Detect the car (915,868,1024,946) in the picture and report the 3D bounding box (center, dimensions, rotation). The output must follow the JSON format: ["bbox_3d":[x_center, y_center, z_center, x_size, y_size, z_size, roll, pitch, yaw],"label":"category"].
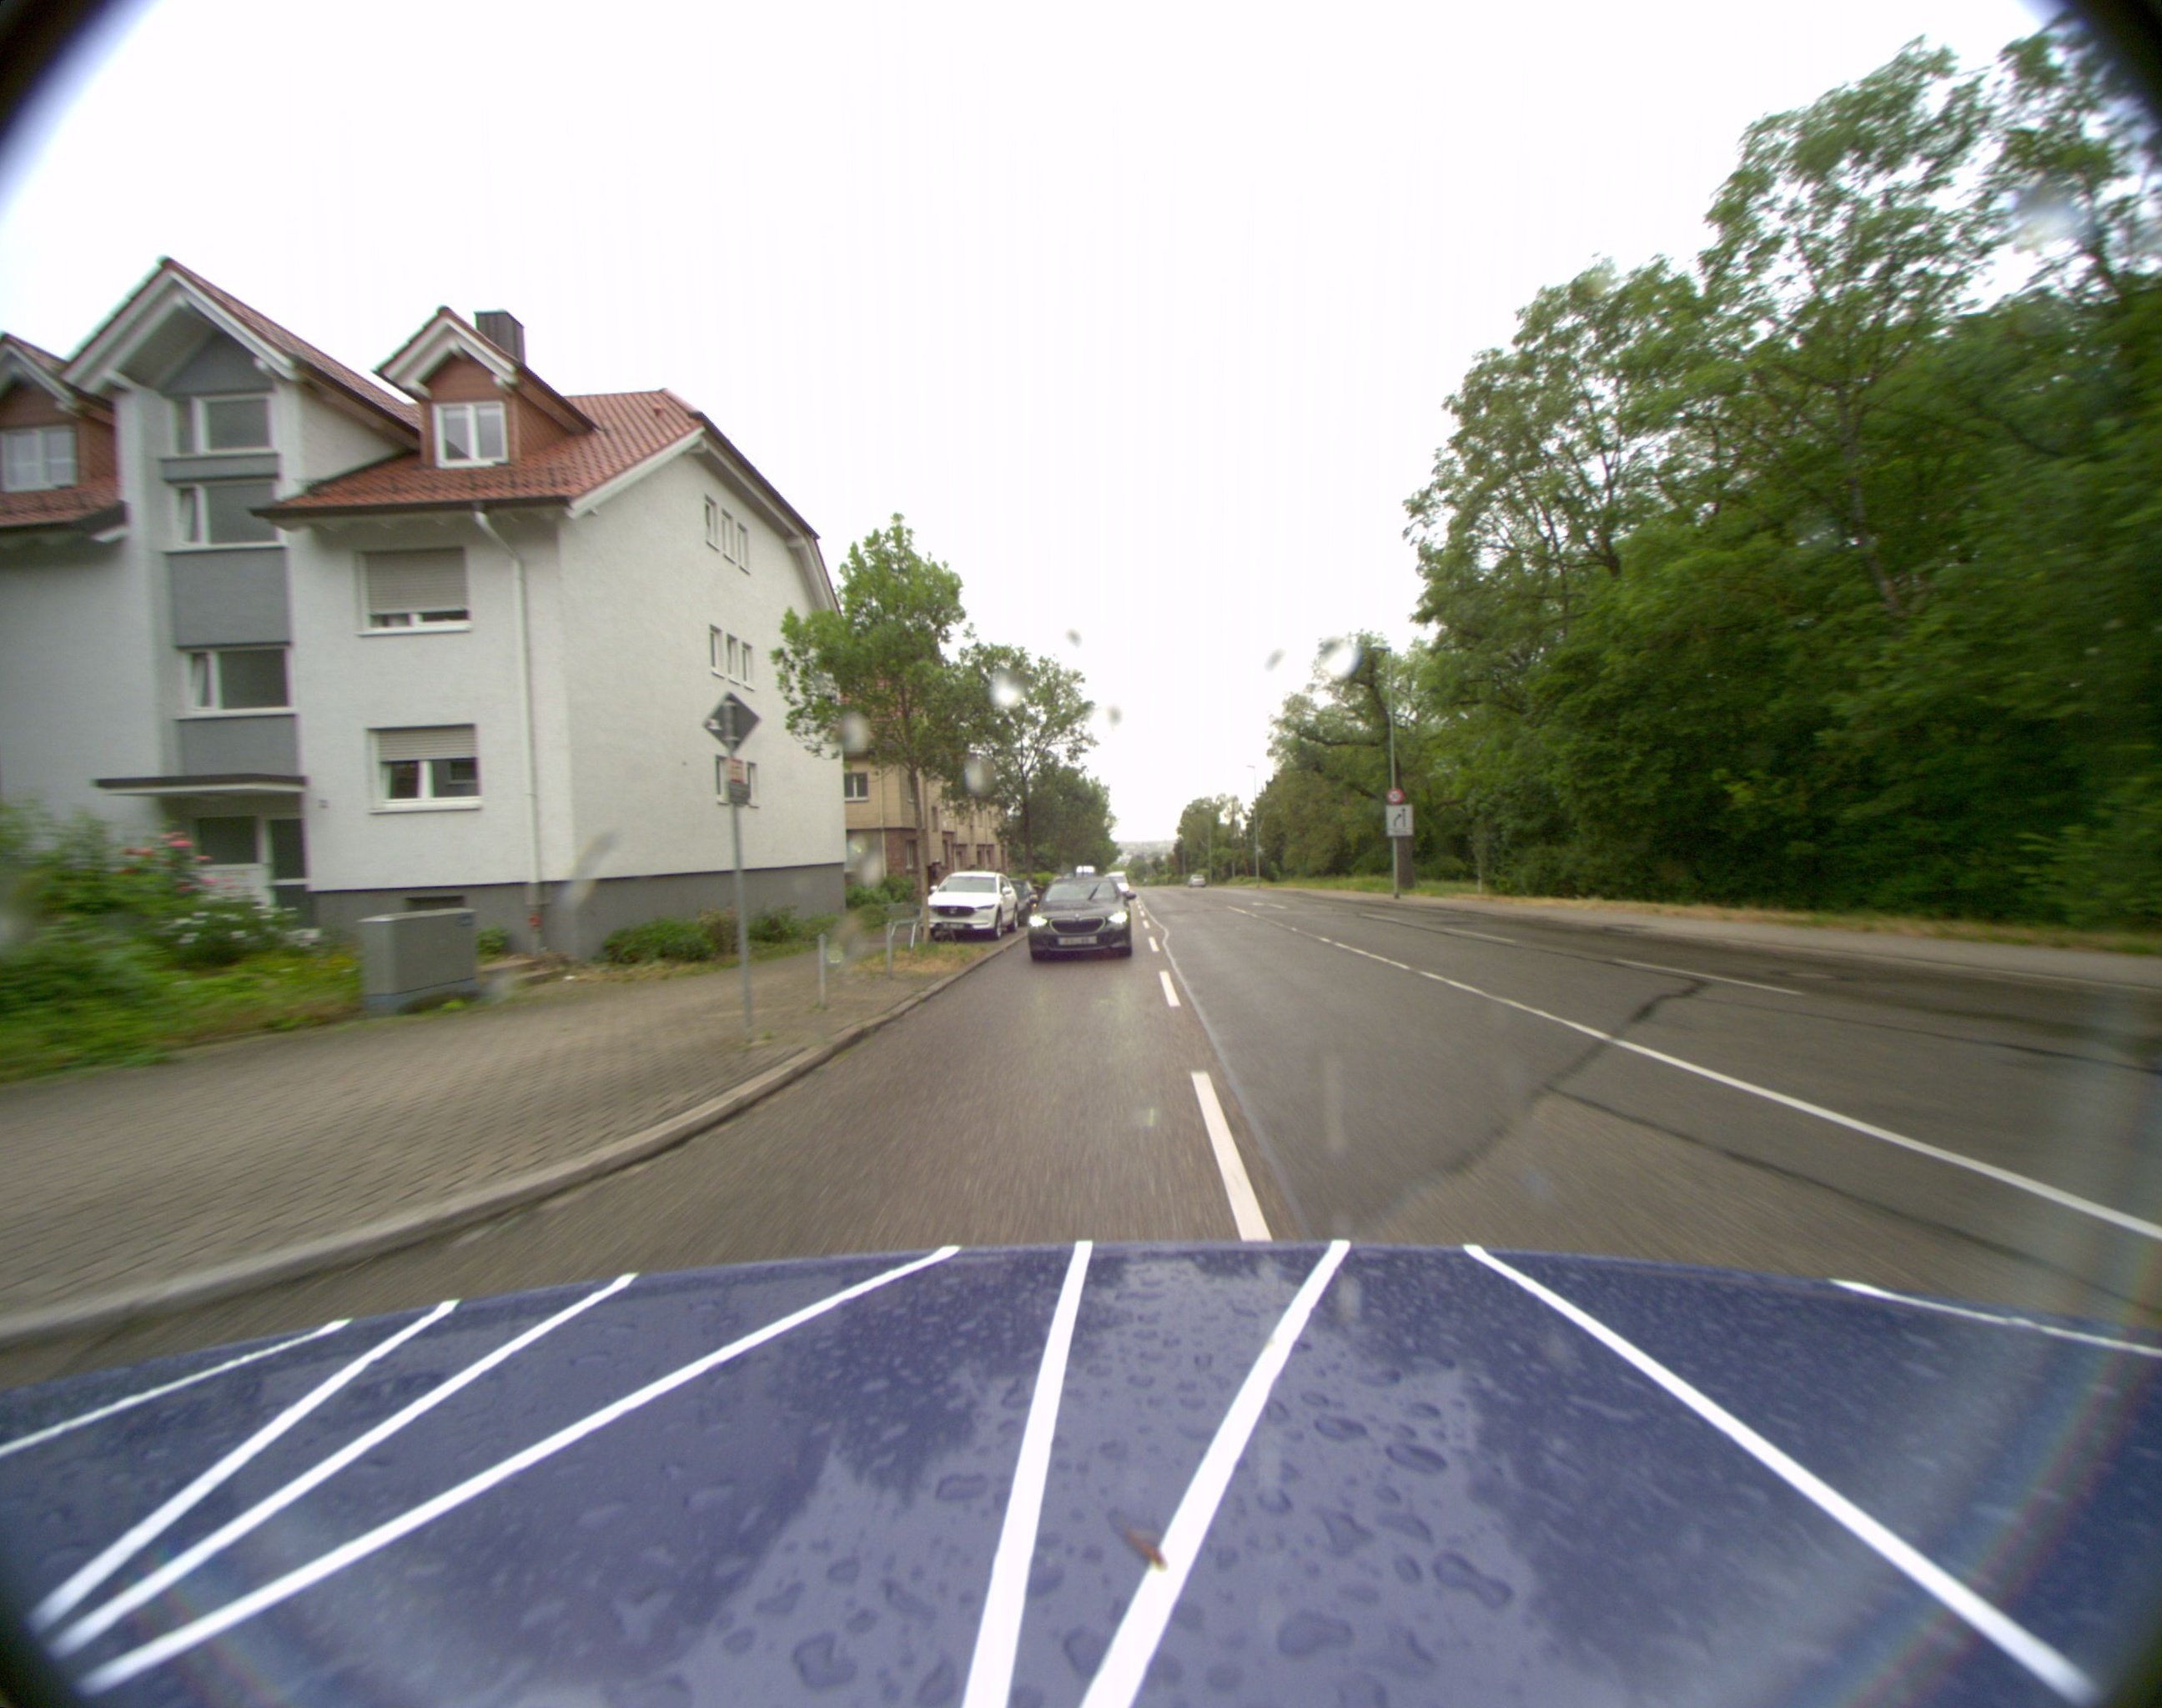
[{"bbox_3d":[-2.759,1.304,19.830,1.828,1.761,4.544,-2,-2,4],"label":"car"}]

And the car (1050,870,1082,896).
[{"bbox_3d":[-0.941,1.918,50.210,1.705,1.574,4.646,1,-2,4],"label":"car"}]

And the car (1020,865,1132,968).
[{"bbox_3d":[0.001,1.185,15.368,1.828,1.667,4.299,-4,-3,2],"label":"car"}]

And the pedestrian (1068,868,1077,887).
[{"bbox_3d":[-0.737,2.145,67.908,0.652,1.669,0.711,-2,-2,11],"label":"pedestrian"}]

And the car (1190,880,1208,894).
[{"bbox_3d":[13.634,3.806,88.275,1.693,1.473,4.454,-1,-2,4],"label":"car"}]

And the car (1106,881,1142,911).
[{"bbox_3d":[2.560,2.557,46.235,1.998,1.673,4.176,-2,-3,2],"label":"car"}]

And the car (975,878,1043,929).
[{"bbox_3d":[-2.261,1.554,24.738,1.645,1.440,4.000,-2,-1,2],"label":"car"}]

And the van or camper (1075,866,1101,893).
[{"bbox_3d":[0.798,2.656,78.927,2.202,2.634,7.307,-1,-3,4],"label":"van or camper"}]
